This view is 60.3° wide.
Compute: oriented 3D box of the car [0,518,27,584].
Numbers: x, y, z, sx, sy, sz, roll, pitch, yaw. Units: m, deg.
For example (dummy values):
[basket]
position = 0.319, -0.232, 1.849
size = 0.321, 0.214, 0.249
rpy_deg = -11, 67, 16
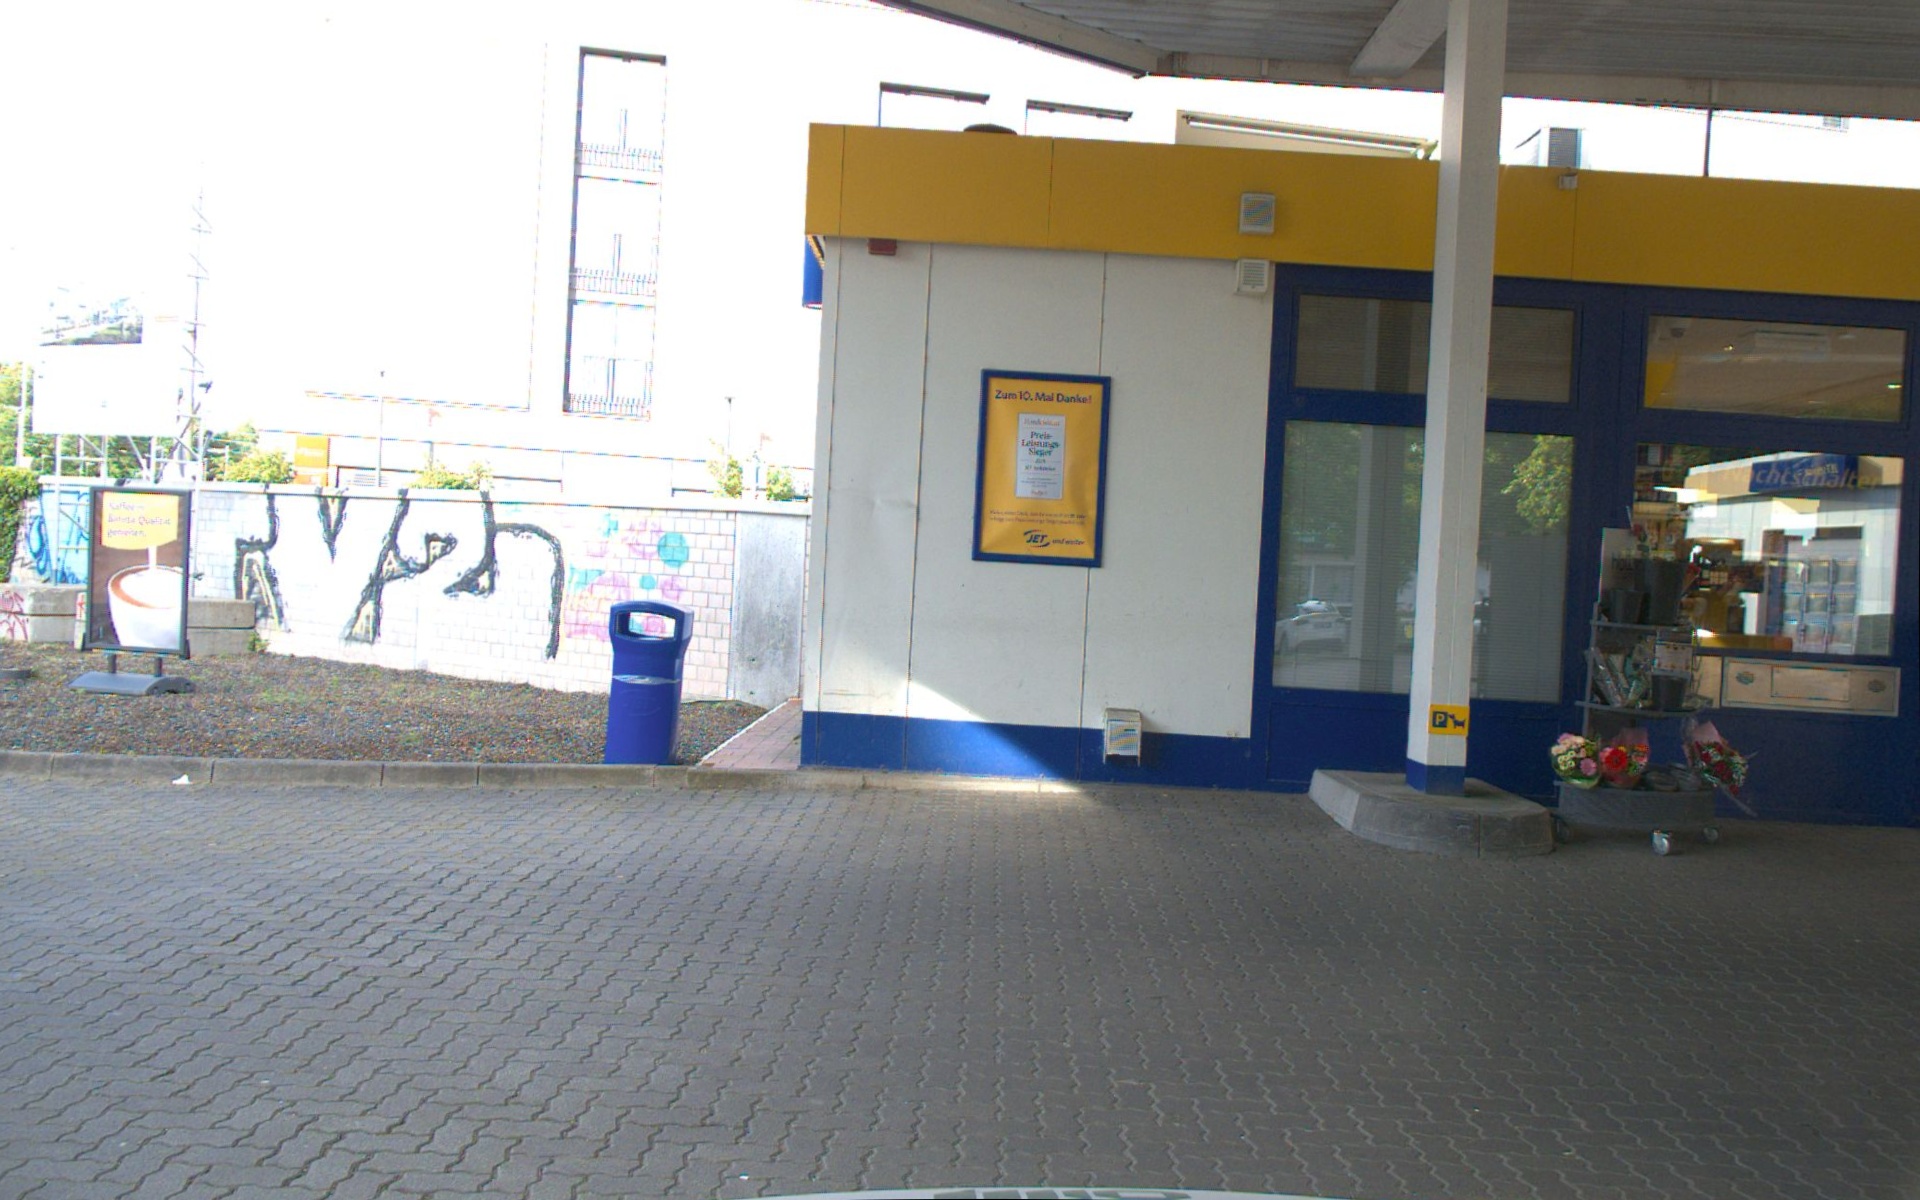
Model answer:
[car]
position = -23.788, -1.219, 39.428
size = 1.736, 1.569, 4.112
rpy_deg = 4, 1, -17
